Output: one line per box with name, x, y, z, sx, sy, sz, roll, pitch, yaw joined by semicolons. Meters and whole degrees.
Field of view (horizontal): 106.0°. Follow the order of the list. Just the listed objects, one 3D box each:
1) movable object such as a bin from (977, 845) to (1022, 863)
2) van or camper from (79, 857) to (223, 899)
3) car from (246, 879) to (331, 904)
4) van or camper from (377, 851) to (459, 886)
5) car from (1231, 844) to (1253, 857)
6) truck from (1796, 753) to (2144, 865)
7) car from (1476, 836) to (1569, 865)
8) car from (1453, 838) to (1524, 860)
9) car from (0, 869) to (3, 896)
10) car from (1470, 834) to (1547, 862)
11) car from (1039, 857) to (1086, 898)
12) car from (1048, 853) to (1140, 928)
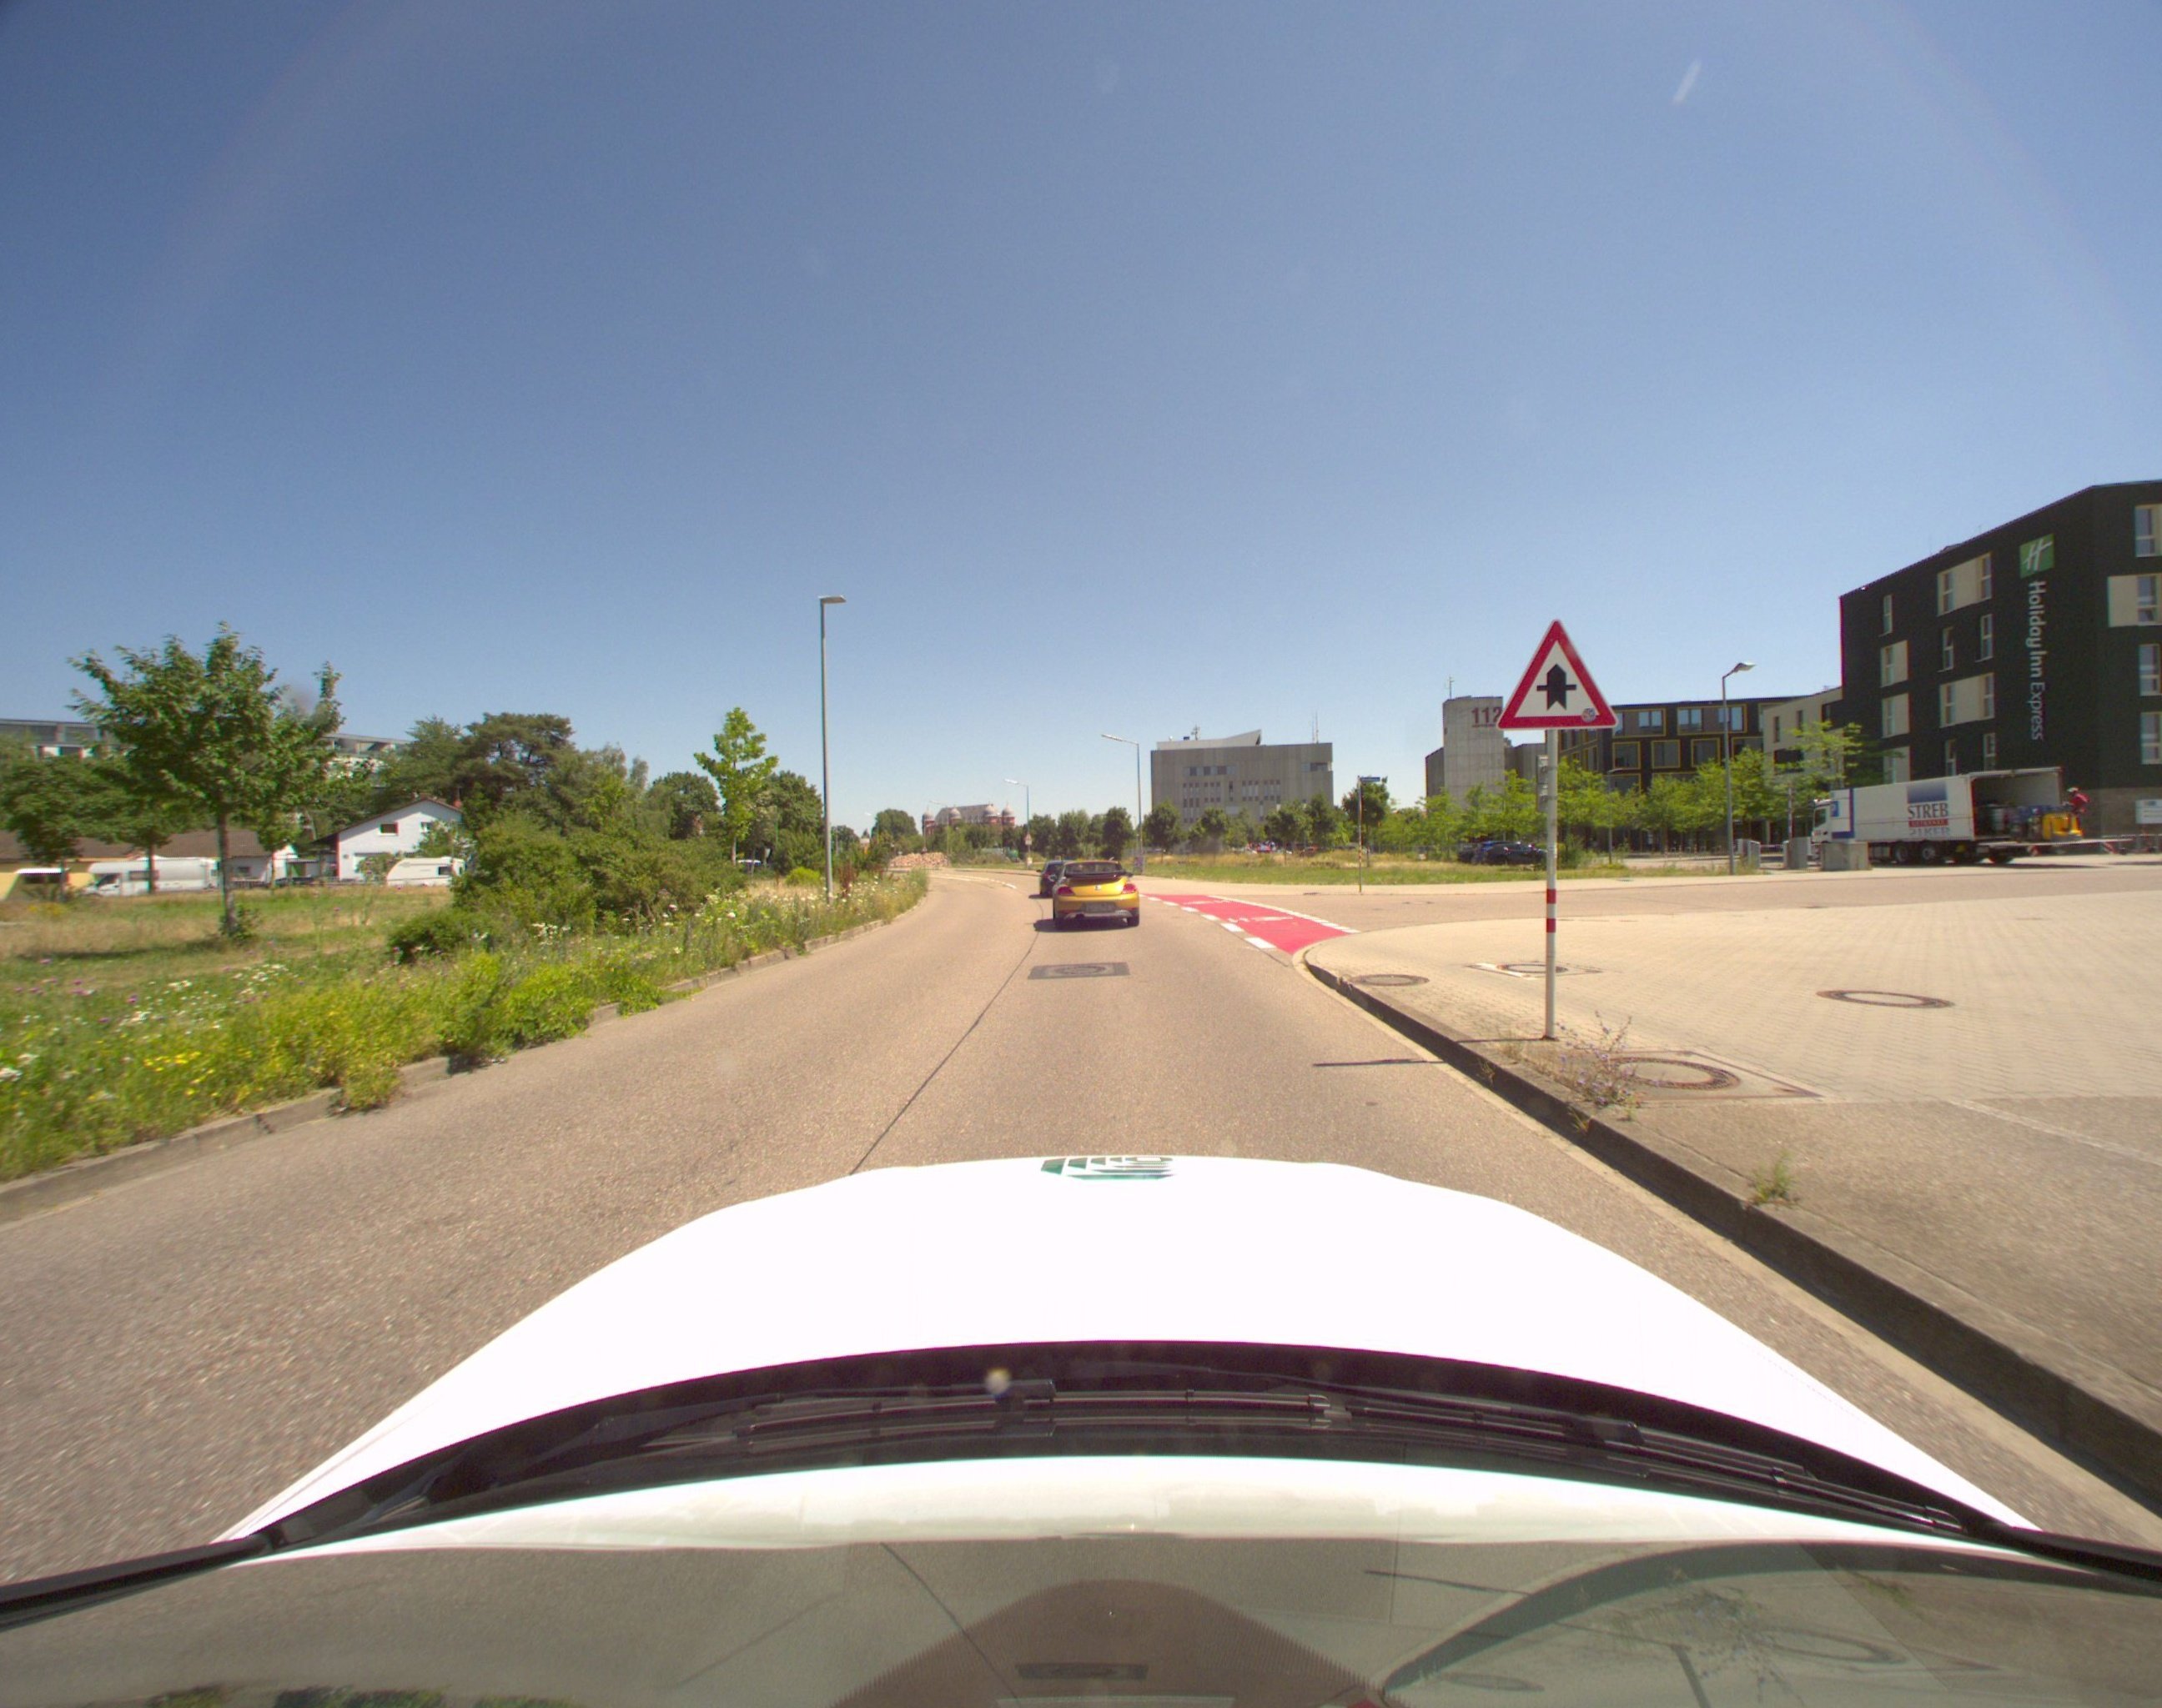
movable object such as a bin;-16.460;0.033;163.416;4.972;3.260;10.364;-1;0;-31
van or camper;-63.607;1.596;55.884;5.987;2.593;2.448;-1;0;-30
car;-57.812;2.725;59.467;4.008;1.552;1.899;-1;0;-26
van or camper;-51.251;1.095;63.086;4.477;2.591;2.469;1;-1;-28
car;29.127;-0.662;147.223;3.816;2.294;1.748;-2;0;13
truck;33.988;-1.470;32.367;2.987;3.461;12.186;-3;0;14
car;26.264;-0.191;48.581;4.464;1.562;2.038;-1;0;11
car;28.910;-0.340;57.902;4.092;1.444;1.966;-2;0;6
car;-71.188;1.894;51.245;3.592;1.772;1.740;-1;0;-32
car;27.789;-0.390;53.023;4.031;1.652;1.961;-1;0;12
car;-0.725;0.873;32.028;1.722;1.443;3.997;-1;0;-2
car;0.366;0.719;18.024;1.782;1.436;3.817;-1;0;3
